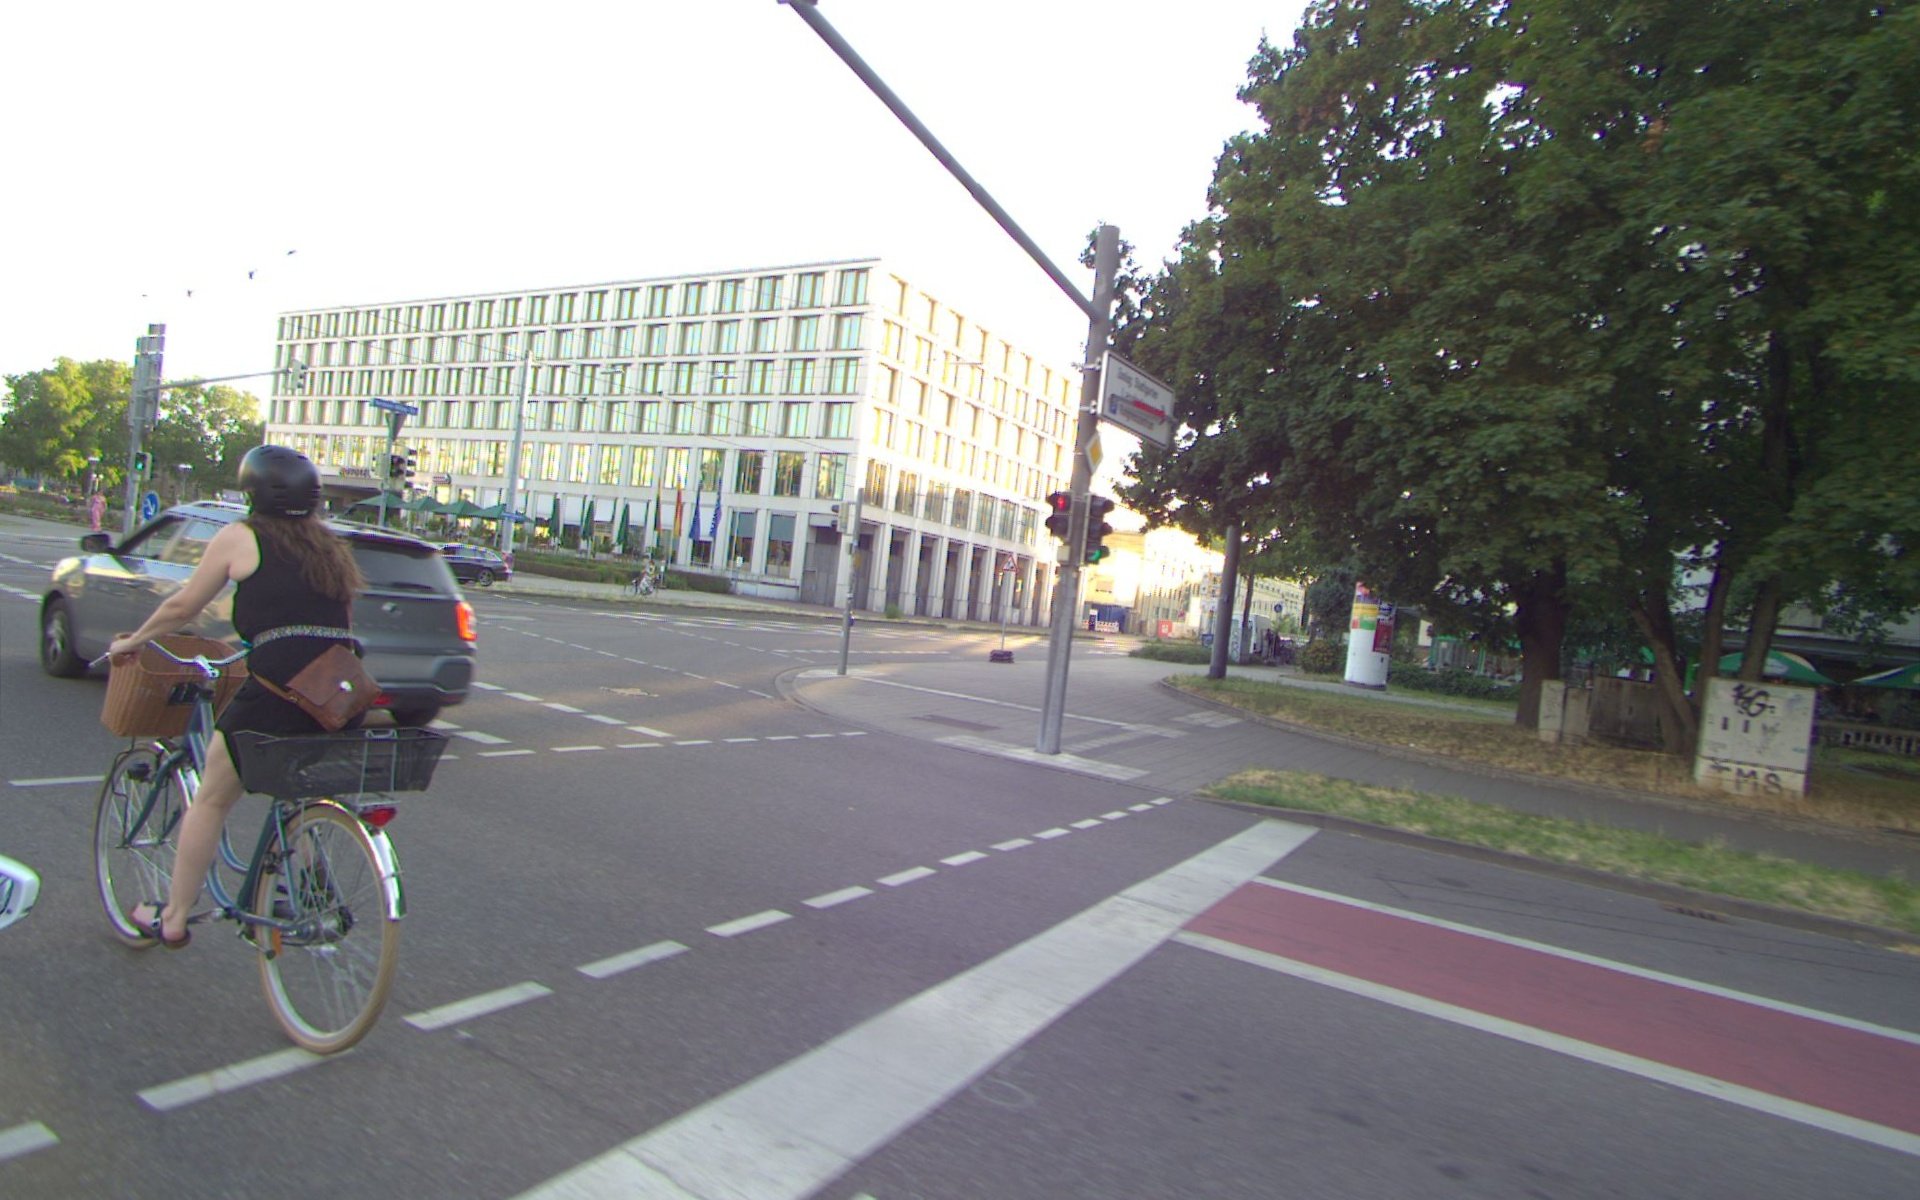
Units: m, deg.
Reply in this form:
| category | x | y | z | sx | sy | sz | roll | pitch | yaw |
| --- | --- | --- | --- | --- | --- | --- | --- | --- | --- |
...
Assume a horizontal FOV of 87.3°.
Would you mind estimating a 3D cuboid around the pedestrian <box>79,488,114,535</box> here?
| category | x | y | z | sx | sy | sz | roll | pitch | yaw |
| --- | --- | --- | --- | --- | --- | --- | --- | --- | --- |
| pedestrian | -32.421 | -3.313 | 37.779 | 0.717 | 1.647 | 0.733 | 6 | 1 | -26 |

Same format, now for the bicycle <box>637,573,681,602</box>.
| category | x | y | z | sx | sy | sz | roll | pitch | yaw |
| --- | --- | --- | --- | --- | --- | --- | --- | --- | --- |
| bicycle | -13.081 | -0.522 | 43.719 | 0.532 | 1.065 | 1.754 | 7 | 0 | 37 |

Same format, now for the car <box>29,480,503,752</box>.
| category | x | y | z | sx | sy | sz | roll | pitch | yaw |
| --- | --- | --- | --- | --- | --- | --- | --- | --- | --- |
| car | -5.820 | 0.043 | 8.308 | 4.023 | 1.624 | 1.695 | 7 | 0 | 33 |

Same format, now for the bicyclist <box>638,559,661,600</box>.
| category | x | y | z | sx | sy | sz | roll | pitch | yaw |
| --- | --- | --- | --- | --- | --- | --- | --- | --- | --- |
| bicyclist | -13.362 | -0.870 | 43.280 | 0.533 | 1.656 | 0.594 | 7 | 1 | 38 |

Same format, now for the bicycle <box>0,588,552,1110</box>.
| category | x | y | z | sx | sy | sz | roll | pitch | yaw |
| --- | --- | --- | --- | --- | --- | --- | --- | --- | --- |
| bicycle | -2.352 | 0.639 | 3.259 | 2.049 | 1.128 | 0.609 | 7 | 1 | 26 |

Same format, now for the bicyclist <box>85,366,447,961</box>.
| category | x | y | z | sx | sy | sz | roll | pitch | yaw |
| --- | --- | --- | --- | --- | --- | --- | --- | --- | --- |
| bicyclist | -2.174 | 0.168 | 3.185 | 0.586 | 1.656 | 0.609 | 7 | 1 | 26 |

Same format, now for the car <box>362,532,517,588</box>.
| category | x | y | z | sx | sy | sz | roll | pitch | yaw |
| --- | --- | --- | --- | --- | --- | --- | --- | --- | --- |
| car | -19.224 | -1.434 | 37.399 | 1.788 | 1.541 | 4.797 | 5 | -1 | 33 |

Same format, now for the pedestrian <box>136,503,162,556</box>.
| category | x | y | z | sx | sy | sz | roll | pitch | yaw |
| --- | --- | --- | --- | --- | --- | --- | --- | --- | --- |
| pedestrian | -26.333 | -2.286 | 32.655 | 0.533 | 1.647 | 0.620 | 5 | 1 | -41 |

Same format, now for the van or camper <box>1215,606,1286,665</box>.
| category | x | y | z | sx | sy | sz | roll | pitch | yaw |
| --- | --- | --- | --- | --- | --- | --- | --- | --- | --- |
| van or camper | 15.422 | 1.916 | 53.314 | 2.078 | 2.715 | 4.697 | 7 | 0 | 33 |
